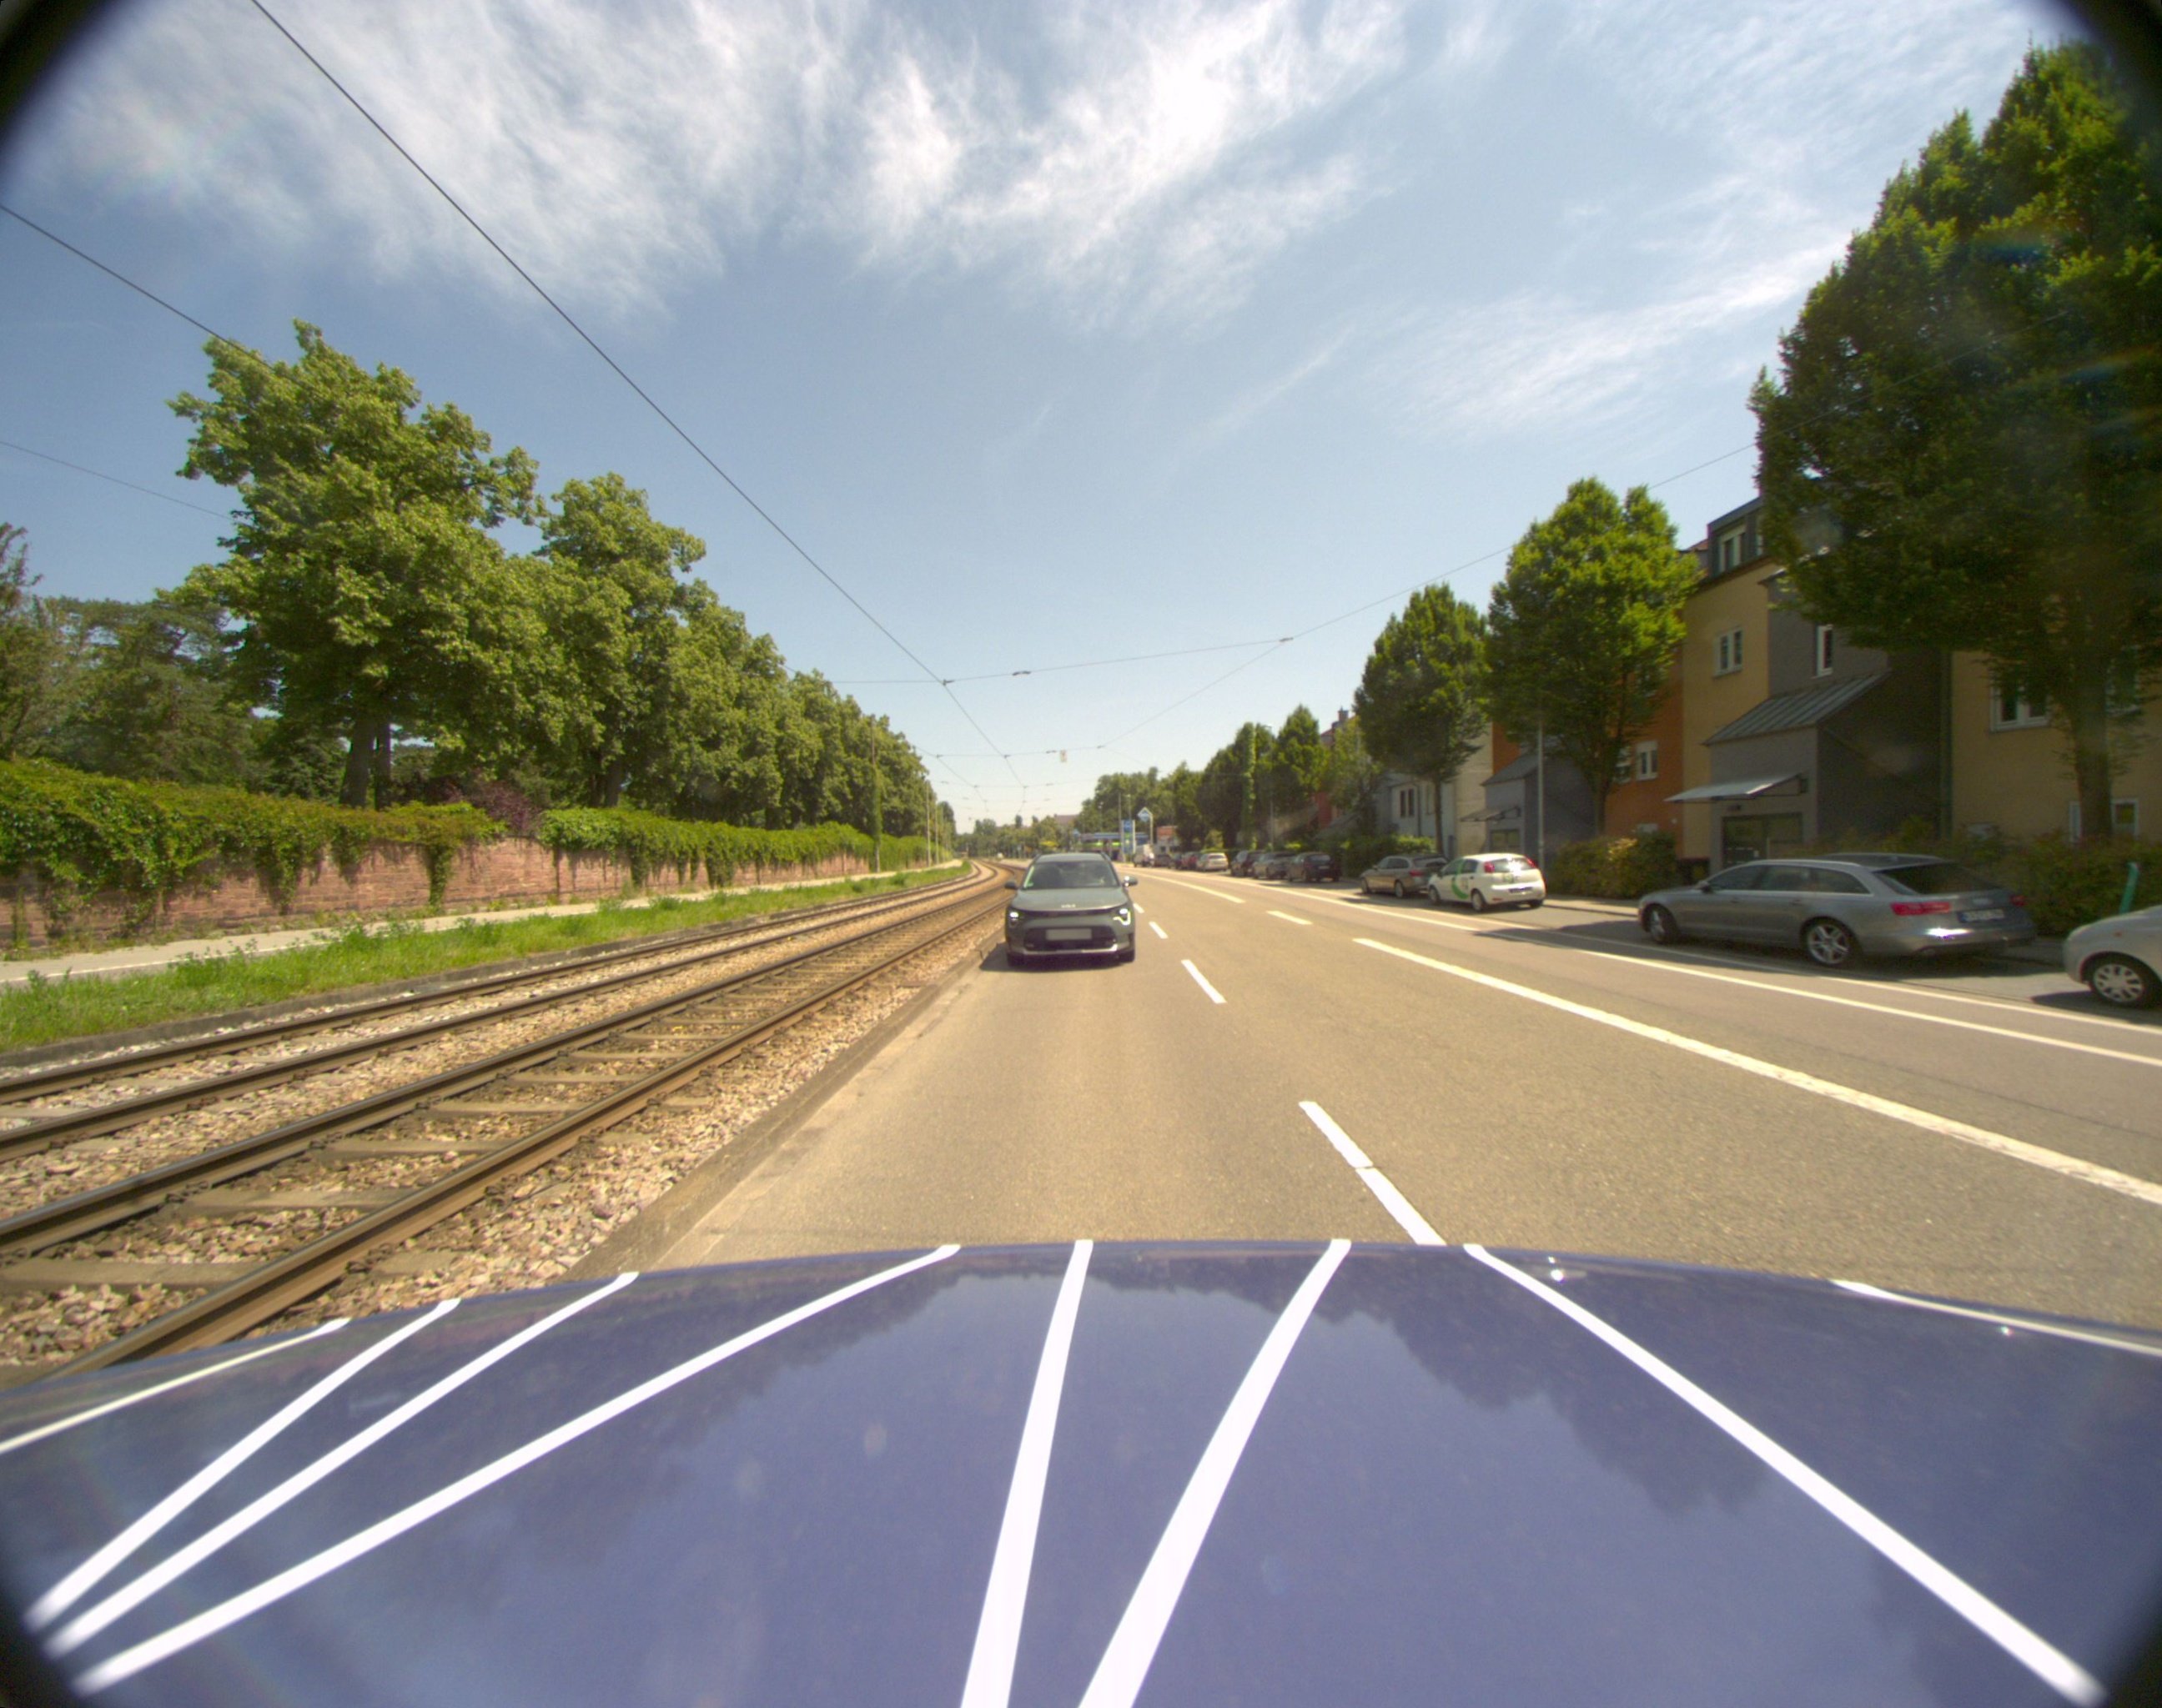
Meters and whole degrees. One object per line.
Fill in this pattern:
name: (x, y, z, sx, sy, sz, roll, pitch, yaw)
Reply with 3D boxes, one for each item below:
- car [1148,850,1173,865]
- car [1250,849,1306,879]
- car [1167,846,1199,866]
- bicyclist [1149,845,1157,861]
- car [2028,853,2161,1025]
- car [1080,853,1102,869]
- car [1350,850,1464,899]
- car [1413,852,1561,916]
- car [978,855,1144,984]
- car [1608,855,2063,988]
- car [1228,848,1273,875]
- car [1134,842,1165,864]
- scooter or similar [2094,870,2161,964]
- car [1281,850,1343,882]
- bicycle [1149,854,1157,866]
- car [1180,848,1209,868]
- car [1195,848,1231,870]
car: (8.371, 0.360, 80.465, 1.870, 1.528, 4.142, -3, 0, -4)
car: (11.166, 0.527, 43.351, 1.830, 1.487, 4.756, -3, 0, -1)
car: (9.578, 0.162, 71.595, 1.999, 1.784, 4.556, -1, 1, -5)
bicyclist: (6.865, -0.093, 72.334, 0.737, 1.496, 0.736, 1, 2, 1)
car: (10.902, 0.800, 6.351, 1.597, 1.487, 3.448, -6, 0, 1)
car: (0.931, 0.629, 71.126, 1.695, 1.403, 3.514, -3, 0, -5)
car: (11.429, 0.668, 27.025, 1.708, 1.421, 4.750, -6, 0, -2)
car: (11.300, 0.760, 21.554, 1.750, 1.434, 4.420, -6, 0, 1)
car: (-0.145, 0.857, 11.797, 2.062, 1.534, 4.001, -3, 0, 3)
car: (10.854, 0.829, 11.695, 1.791, 1.441, 5.133, -5, 0, 0)
car: (10.926, 0.463, 49.172, 1.772, 1.580, 4.147, -3, 0, -3)
car: (7.773, -0.071, 86.532, 2.285, 2.295, 5.226, -3, 0, -8)
scooter or similar: (13.615, 0.793, 9.456, 0.455, 1.139, 1.183, -1, 1, 3)
car: (11.480, 0.554, 38.061, 1.754, 1.424, 4.256, -3, 0, 0)
bicycle: (6.875, 0.577, 72.406, 0.641, 1.089, 1.638, 1, 1, 1)
car: (9.891, 0.365, 66.388, 1.604, 1.584, 3.680, -3, 0, -5)
car: (10.481, 0.369, 60.494, 1.845, 1.573, 4.495, -3, 0, -2)
